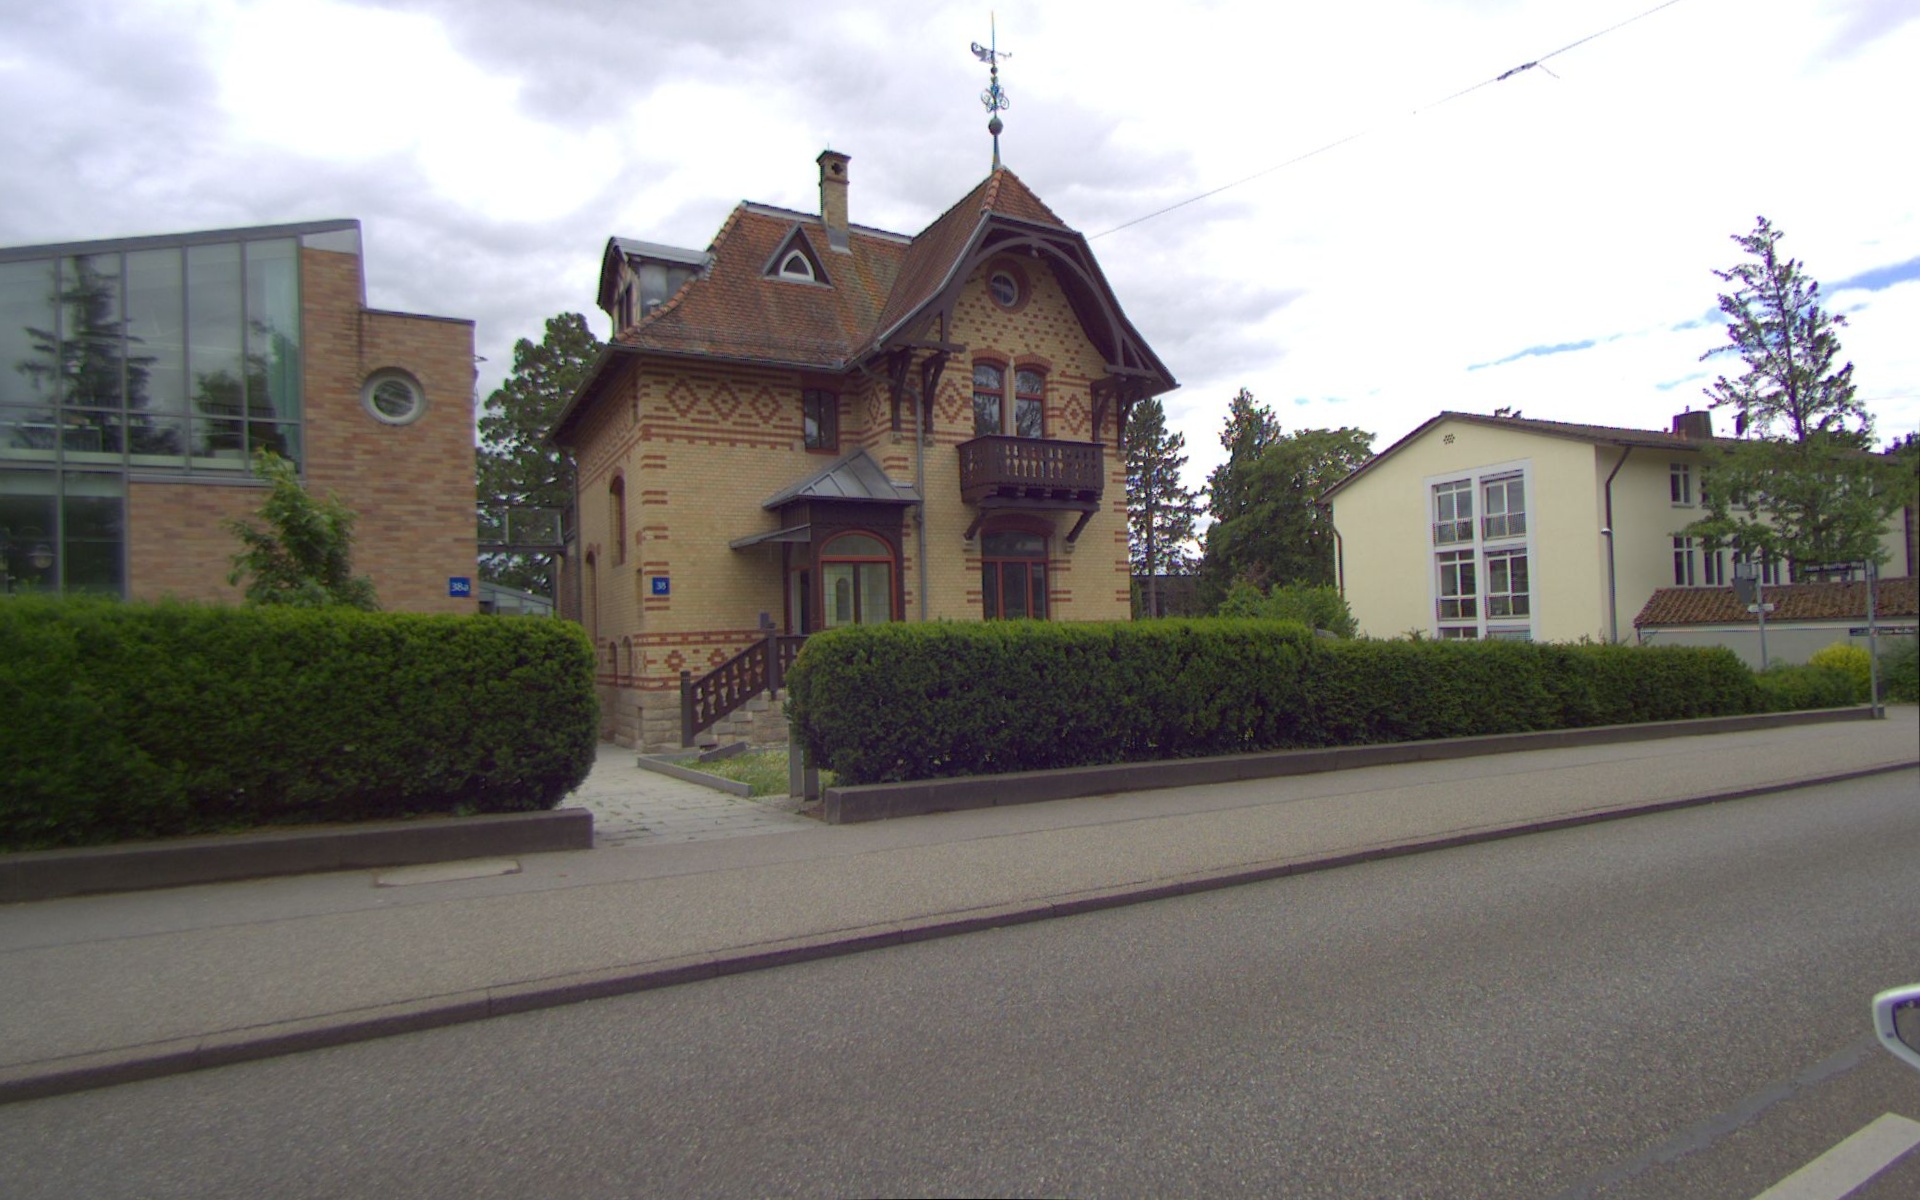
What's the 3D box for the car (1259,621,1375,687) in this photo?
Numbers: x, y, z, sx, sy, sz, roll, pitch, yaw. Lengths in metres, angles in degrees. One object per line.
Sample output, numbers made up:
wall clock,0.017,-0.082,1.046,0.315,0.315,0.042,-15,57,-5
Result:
car,9.537,1.421,26.741,1.666,1.616,3.488,-3,-3,43
